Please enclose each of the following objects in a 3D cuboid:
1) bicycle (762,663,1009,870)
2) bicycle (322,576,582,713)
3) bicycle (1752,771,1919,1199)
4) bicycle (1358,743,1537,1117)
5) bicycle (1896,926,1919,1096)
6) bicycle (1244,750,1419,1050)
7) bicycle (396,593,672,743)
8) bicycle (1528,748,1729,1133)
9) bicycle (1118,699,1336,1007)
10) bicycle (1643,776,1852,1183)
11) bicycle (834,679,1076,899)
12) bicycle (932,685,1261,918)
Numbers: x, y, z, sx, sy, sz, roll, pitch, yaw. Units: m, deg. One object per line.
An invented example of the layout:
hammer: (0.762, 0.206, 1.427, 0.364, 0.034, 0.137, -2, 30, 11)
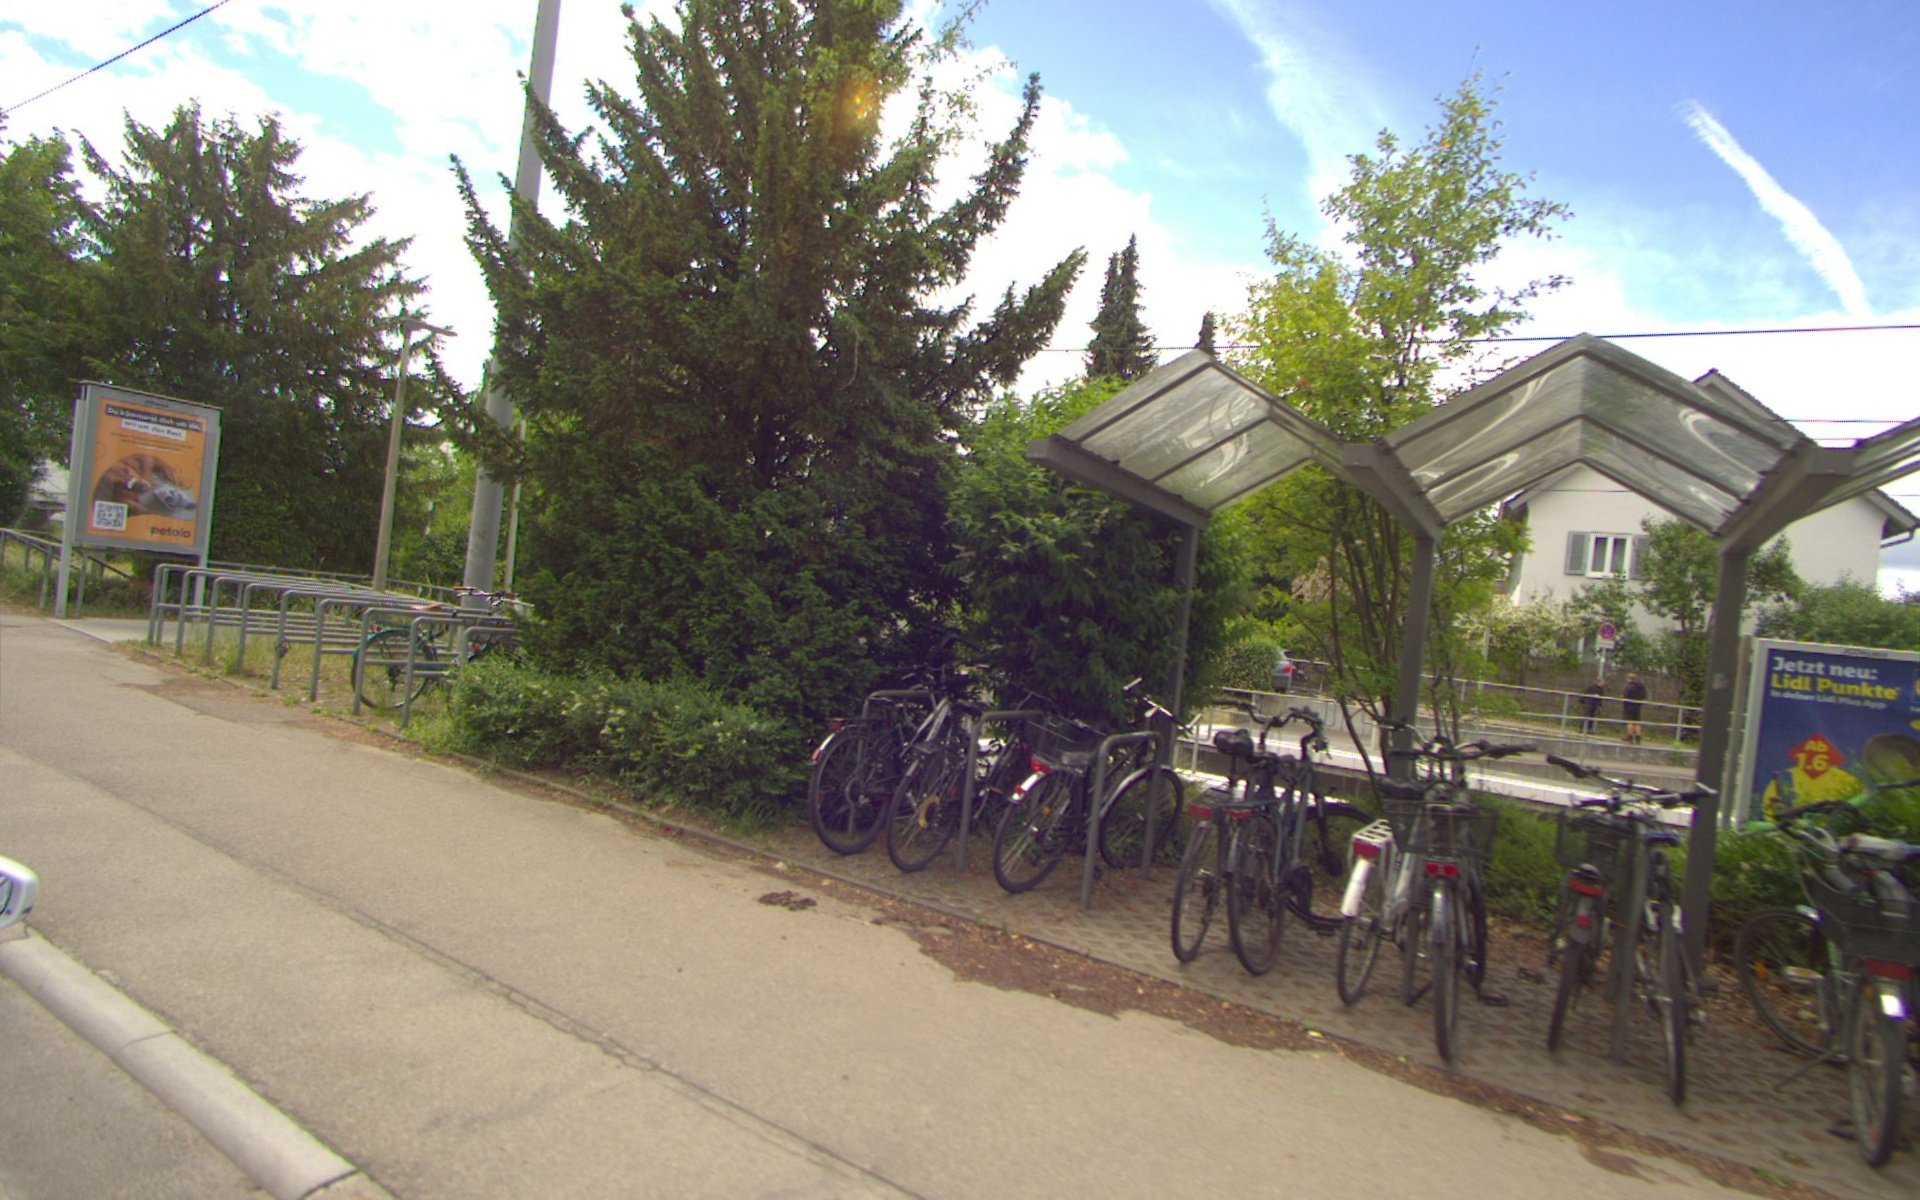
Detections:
bicycle: (-0.374, 0.998, 6.432, 0.443, 1.059, 2.094, 7, -2, 27)
bicycle: (-4.600, 0.435, 9.292, 0.538, 1.094, 2.090, 6, 0, 32)
bicycle: (3.549, 1.350, 3.972, 0.444, 1.163, 2.201, 6, -1, 35)
bicycle: (2.157, 1.242, 4.394, 0.443, 1.060, 2.205, 6, -1, 28)
bicycle: (3.847, 1.641, 3.376, 0.326, 0.646, 1.684, 7, -2, 19)
bicycle: (1.847, 1.265, 4.789, 0.443, 0.949, 2.207, 7, -2, 27)
bicycle: (-3.488, 0.626, 8.480, 0.550, 1.059, 2.093, 6, -3, 32)
bicycle: (2.940, 1.351, 4.588, 0.443, 1.061, 2.202, 6, 2, 28)
bicycle: (1.444, 1.125, 5.113, 0.521, 1.164, 2.094, 7, -1, 27)
bicycle: (3.173, 1.365, 4.166, 0.444, 1.060, 2.201, 6, -1, 35)
bicycle: (0.069, 1.061, 6.114, 0.443, 1.059, 2.094, 7, -2, 27)
bicycle: (0.842, 1.067, 5.615, 2.079, 1.060, 0.446, 6, 0, -40)
